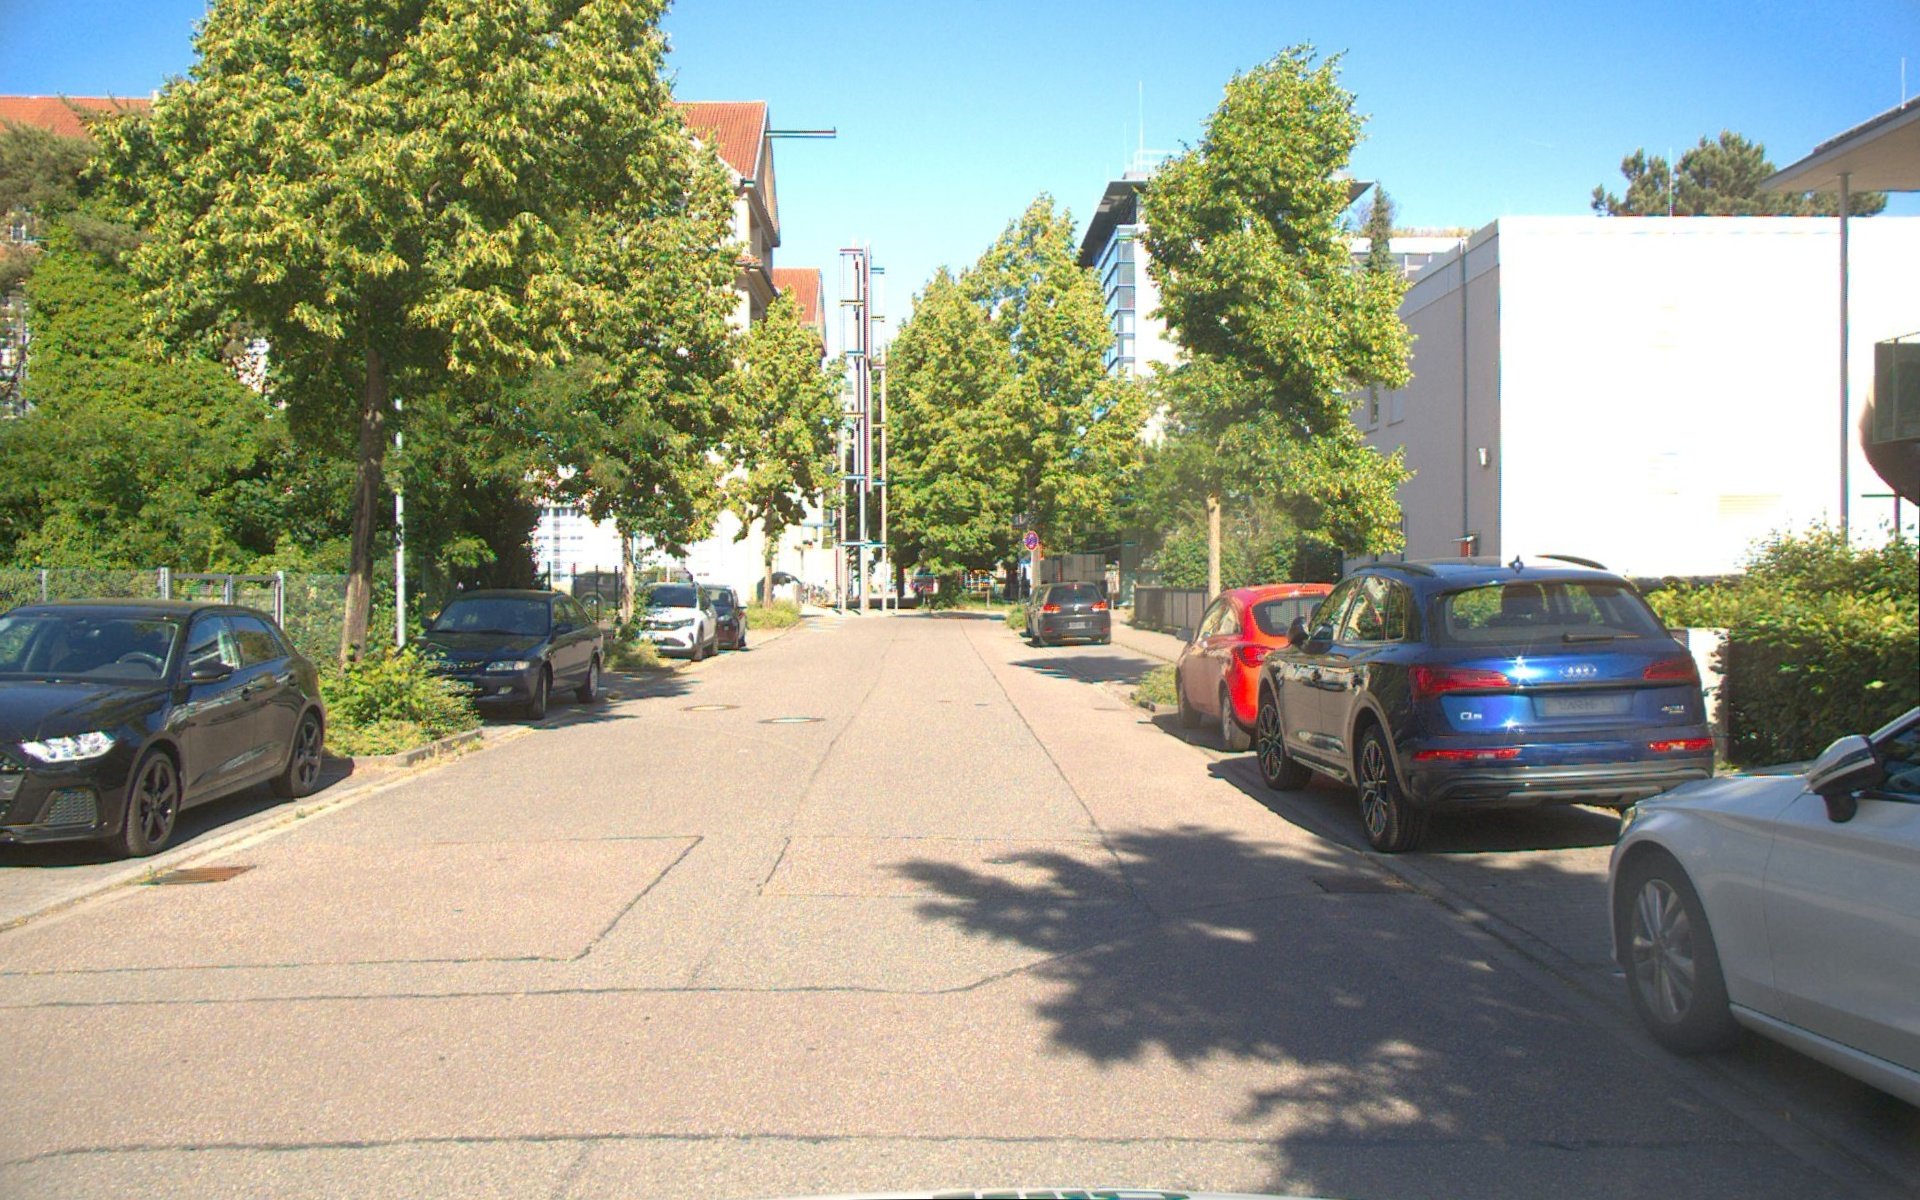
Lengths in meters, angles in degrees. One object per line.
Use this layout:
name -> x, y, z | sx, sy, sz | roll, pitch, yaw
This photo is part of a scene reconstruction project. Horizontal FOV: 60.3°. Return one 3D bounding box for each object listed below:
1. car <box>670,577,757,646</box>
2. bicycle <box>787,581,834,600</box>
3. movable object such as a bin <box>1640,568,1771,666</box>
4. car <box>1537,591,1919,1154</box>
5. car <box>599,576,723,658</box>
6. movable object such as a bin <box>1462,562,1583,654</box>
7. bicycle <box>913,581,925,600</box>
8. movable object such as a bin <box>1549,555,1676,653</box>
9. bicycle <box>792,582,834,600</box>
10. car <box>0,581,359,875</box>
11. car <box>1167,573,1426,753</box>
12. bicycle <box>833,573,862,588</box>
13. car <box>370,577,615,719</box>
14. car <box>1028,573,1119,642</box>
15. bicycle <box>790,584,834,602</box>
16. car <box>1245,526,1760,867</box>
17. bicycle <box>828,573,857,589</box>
car -> -5.781, 0.239, 39.117 | 1.683, 1.499, 3.544 | 1, 1, -3
bicycle -> -8.840, -0.582, 97.813 | 2.746, 1.081, 0.718 | 0, 1, -6
movable object such as a bin -> 11.596, 0.244, 25.804 | 1.303, 1.473, 1.631 | -1, 1, 0
car -> 3.390, 0.694, 4.078 | 1.924, 1.342, 4.772 | -3, 1, -4
car -> -5.929, 0.299, 33.223 | 1.803, 1.499, 4.001 | 1, 1, -1
movable object such as a bin -> 8.812, 0.105, 25.991 | 1.338, 1.381, 1.631 | -1, 1, 0
bicycle -> -2.787, -0.666, 111.550 | 0.607, 1.218, 2.129 | 0, 1, -6
movable object such as a bin -> 10.210, 0.041, 25.970 | 1.338, 1.473, 1.631 | -1, 1, 0
bicycle -> -9.427, -0.586, 106.028 | 2.678, 1.170, 0.718 | 0, 1, -6
car -> -5.501, 0.653, 10.697 | 1.803, 1.499, 4.026 | 1, 1, -1
car -> 3.189, 0.528, 16.395 | 1.641, 1.530, 3.845 | -1, 1, -2
bicycle -> -8.039, -1.386, 118.107 | 2.015, 1.085, 0.507 | 0, 1, 1
car -> -5.530, 0.501, 20.137 | 1.803, 1.499, 4.359 | 1, 1, -1
car -> 2.720, 0.143, 40.302 | 1.748, 1.542, 3.998 | -1, 1, -3
bicycle -> -9.382, -0.442, 104.638 | 2.746, 1.171, 0.718 | 0, 0, -6
car -> 3.230, 0.479, 10.878 | 1.861, 1.712, 4.411 | -2, 1, 0
bicycle -> -8.340, -1.358, 117.378 | 2.015, 1.085, 0.507 | 0, 1, 1
